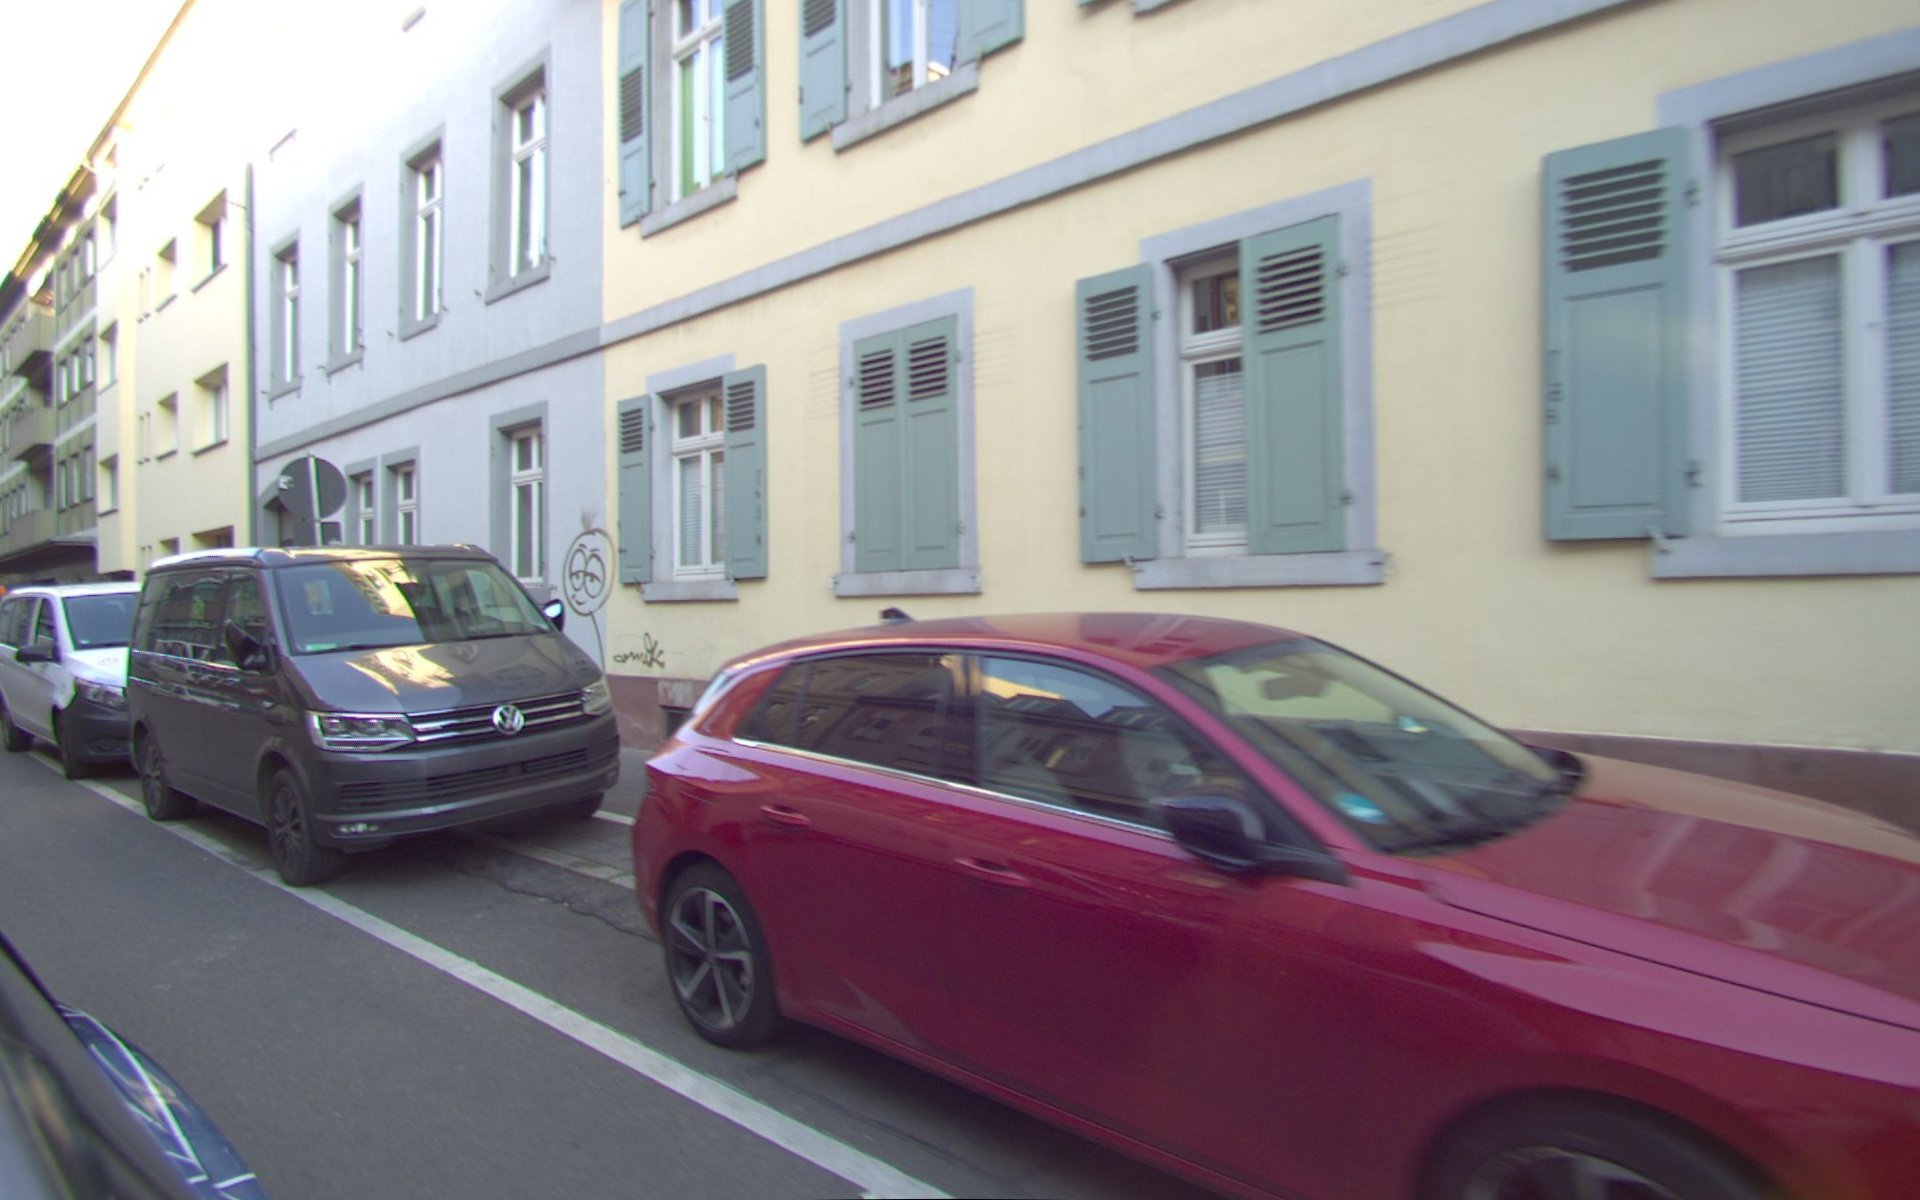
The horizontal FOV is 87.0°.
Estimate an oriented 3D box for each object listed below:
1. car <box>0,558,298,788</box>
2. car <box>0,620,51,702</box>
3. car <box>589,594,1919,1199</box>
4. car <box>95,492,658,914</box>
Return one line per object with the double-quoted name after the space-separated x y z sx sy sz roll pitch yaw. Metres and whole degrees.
-9.322 0.690 11.237 5.100 2.029 1.844 -1 -1 39 "car"
-18.988 1.164 19.512 3.518 1.459 1.645 -1 2 40 "car"
0.808 0.715 2.996 4.260 1.412 1.746 -1 -1 41 "car"
-4.321 0.539 7.119 4.808 2.029 1.844 -1 -1 39 "car"
